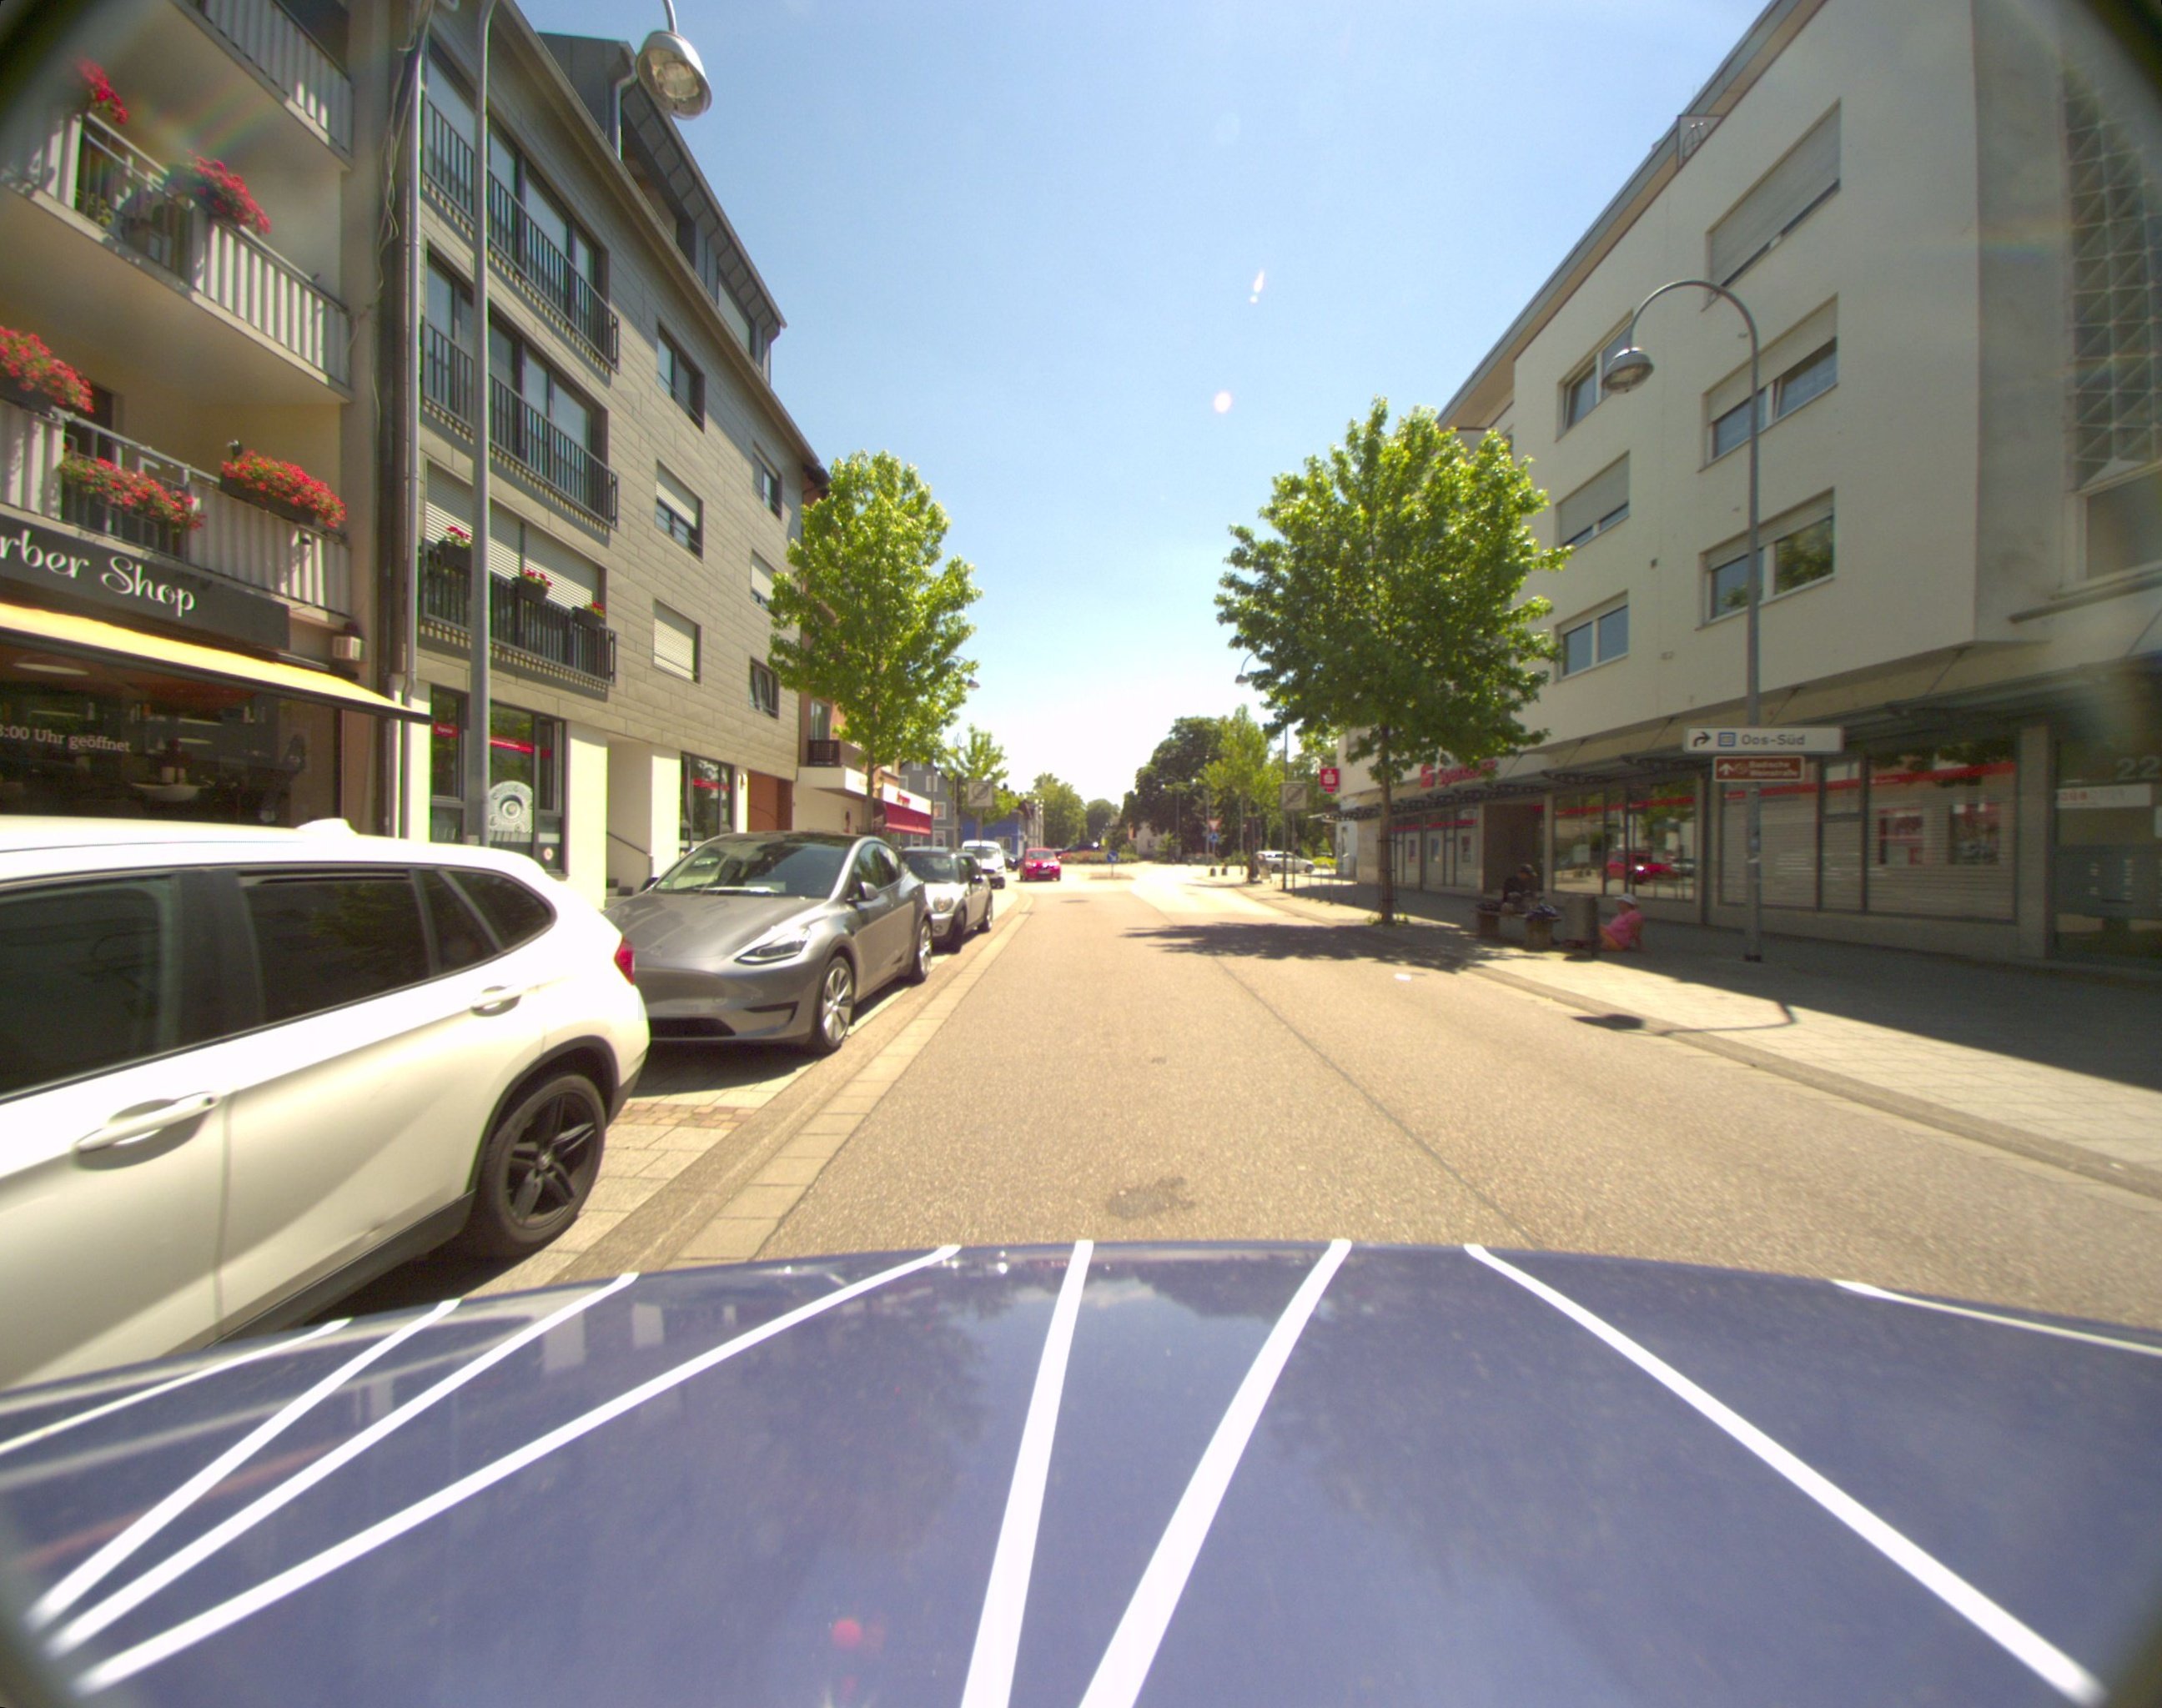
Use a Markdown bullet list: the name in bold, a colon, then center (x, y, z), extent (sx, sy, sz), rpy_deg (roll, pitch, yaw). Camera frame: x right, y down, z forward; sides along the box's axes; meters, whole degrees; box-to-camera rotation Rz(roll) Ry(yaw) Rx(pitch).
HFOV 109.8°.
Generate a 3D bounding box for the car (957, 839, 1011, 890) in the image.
- **car**: center (-3.671, 0.341, 28.293), extent (1.753, 1.714, 3.906), rpy_deg (2, 0, -10)

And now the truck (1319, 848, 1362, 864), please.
- **truck**: center (43.102, 0.357, 126.261), extent (6.200, 2.428, 2.270), rpy_deg (1, -2, 32)

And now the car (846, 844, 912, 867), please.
- **car**: center (-15.331, 0.124, 57.847), extent (4.523, 1.679, 1.999), rpy_deg (1, 1, -1)

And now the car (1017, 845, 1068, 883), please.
- **car**: center (-1.865, 0.412, 35.555), extent (1.835, 1.525, 3.994), rpy_deg (-1, 3, -11)

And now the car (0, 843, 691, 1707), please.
- **car**: center (-2.859, 0.790, 1.609), extent (1.726, 1.574, 4.225), rpy_deg (2, 1, 2)

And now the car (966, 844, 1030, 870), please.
- **car**: center (-5.607, 0.241, 51.595), extent (3.996, 1.554, 1.805), rpy_deg (2, -2, 3)

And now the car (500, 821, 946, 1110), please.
- **car**: center (-2.614, 0.667, 6.990), extent (1.768, 1.696, 4.705), rpy_deg (2, 0, 1)

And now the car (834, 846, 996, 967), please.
- **car**: center (-2.394, 0.678, 11.893), extent (1.626, 1.550, 3.840), rpy_deg (1, 1, 1)

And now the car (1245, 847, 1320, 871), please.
- **car**: center (14.433, 0.365, 54.464), extent (5.005, 1.584, 1.995), rpy_deg (0, 3, -25)

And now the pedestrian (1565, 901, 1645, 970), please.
- **pedestrian**: center (7.647, 1.173, 11.116), extent (0.666, 0.854, 0.733), rpy_deg (2, 5, 10)

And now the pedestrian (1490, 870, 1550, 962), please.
- **pedestrian**: center (6.865, 0.953, 11.902), extent (0.568, 1.364, 0.667), rpy_deg (2, 1, 10)

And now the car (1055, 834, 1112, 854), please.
- **car**: center (0.213, -0.910, 67.204), extent (4.608, 1.575, 1.952), rpy_deg (2, -2, 17)
